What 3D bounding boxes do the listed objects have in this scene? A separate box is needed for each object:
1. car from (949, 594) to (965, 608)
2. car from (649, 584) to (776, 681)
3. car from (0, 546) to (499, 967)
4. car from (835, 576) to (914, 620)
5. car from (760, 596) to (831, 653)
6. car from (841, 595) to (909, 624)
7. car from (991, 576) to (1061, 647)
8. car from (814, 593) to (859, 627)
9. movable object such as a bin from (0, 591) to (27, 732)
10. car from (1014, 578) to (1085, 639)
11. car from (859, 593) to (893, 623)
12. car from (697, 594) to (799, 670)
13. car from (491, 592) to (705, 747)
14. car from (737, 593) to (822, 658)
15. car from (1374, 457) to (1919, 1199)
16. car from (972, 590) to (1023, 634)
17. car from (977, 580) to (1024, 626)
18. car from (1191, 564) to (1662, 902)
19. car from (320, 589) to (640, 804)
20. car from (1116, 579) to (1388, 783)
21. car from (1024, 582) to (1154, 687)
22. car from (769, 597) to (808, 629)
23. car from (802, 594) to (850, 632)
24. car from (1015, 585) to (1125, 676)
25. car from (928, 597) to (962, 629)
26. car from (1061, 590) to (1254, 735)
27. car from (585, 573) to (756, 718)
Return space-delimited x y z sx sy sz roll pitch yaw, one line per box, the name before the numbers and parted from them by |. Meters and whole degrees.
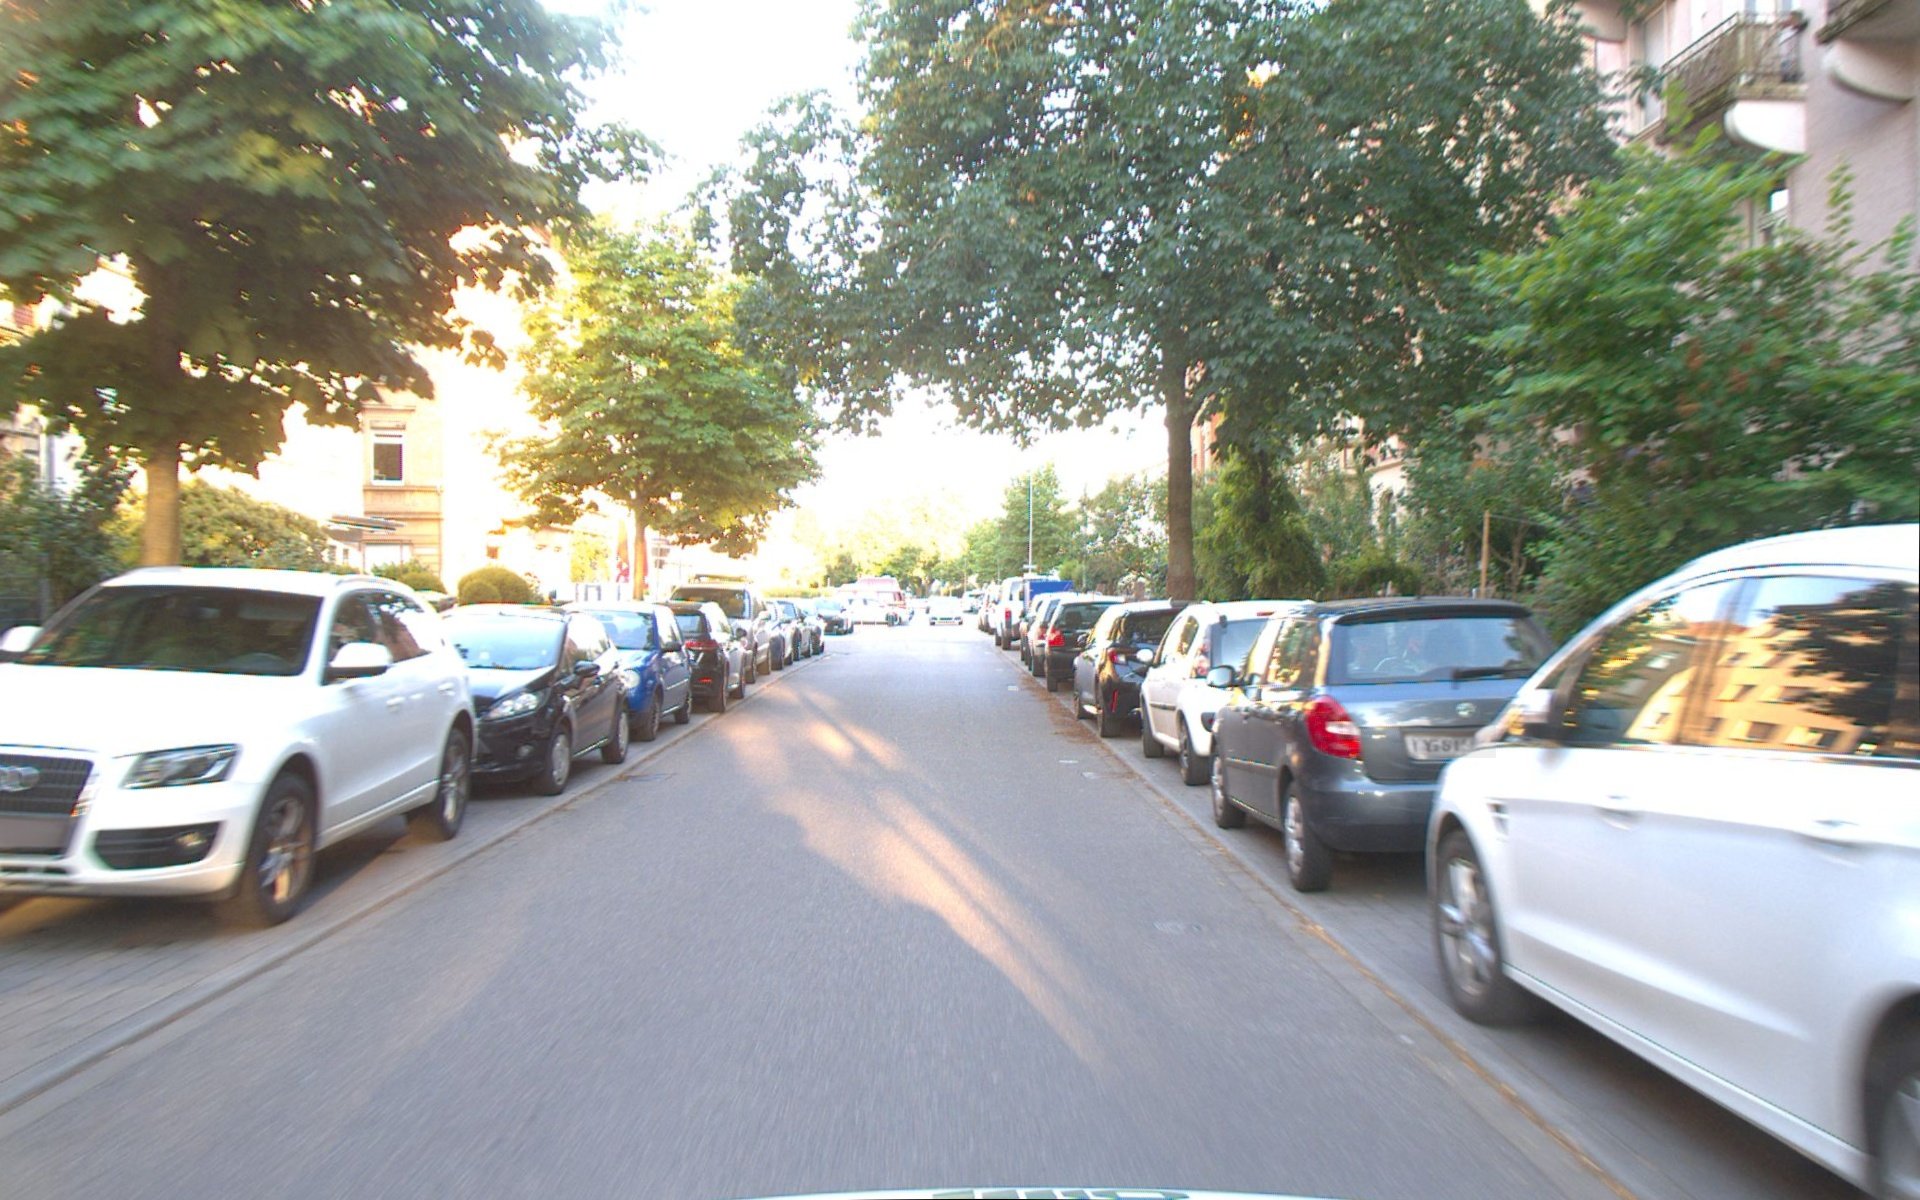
car | -0.356 0.085 186.957 1.681 1.624 3.482 0 0 -1
car | -4.382 0.536 29.894 1.681 1.624 4.518 0 0 -1
car | -4.060 0.632 9.081 1.882 1.747 4.427 0 0 -1
car | -4.634 -0.128 90.071 4.262 2.358 1.745 0 0 -3
car | -4.447 0.646 45.145 1.566 1.466 3.837 0 0 0
car | -4.511 0.506 87.513 3.547 1.487 1.605 0 0 -5
car | 1.866 0.324 47.878 1.647 1.975 3.878 0 0 -3
car | -5.438 0.420 73.141 1.680 1.466 3.630 0 0 0
movable object such as a bin | -9.771 0.587 15.890 0.991 1.344 1.005 2 1 4
car | 2.360 0.221 44.164 1.508 1.548 3.429 0 0 -3
car | -4.324 0.401 84.544 1.682 1.466 3.628 0 0 -4
car | -4.407 0.621 34.861 1.681 1.490 3.986 0 0 -1
car | -4.049 0.707 19.046 1.681 1.594 3.787 0 0 -1
car | -4.246 0.564 39.447 1.681 1.466 3.630 0 0 -1
car | 2.679 0.586 4.377 1.762 1.741 4.598 -1 0 -3
car | 1.411 0.439 63.588 1.653 1.634 3.937 0 0 -3
car | 1.639 0.122 68.342 1.653 1.843 3.937 0 0 -3
car | 2.557 0.653 10.127 1.652 1.634 4.209 0 0 -1
car | -3.931 0.731 14.188 1.681 1.594 3.780 0 -1 -1
car | 2.535 0.656 15.211 1.653 1.634 3.746 0 0 -3
car | 2.078 0.542 27.610 1.653 1.634 3.937 0 0 -3
car | -8.093 0.601 78.097 1.682 1.466 3.627 -1 0 -4
car | -5.423 0.548 67.249 1.680 1.512 3.630 0 -1 0
car | 2.059 0.561 31.903 1.653 1.634 3.937 0 0 -3
car | -0.803 0.688 88.758 1.776 1.624 3.482 0 0 -1
car | 2.210 0.663 19.523 1.652 1.466 4.208 -2 0 -1
car | -3.912 0.557 22.969 1.681 1.821 4.215 0 0 -1
